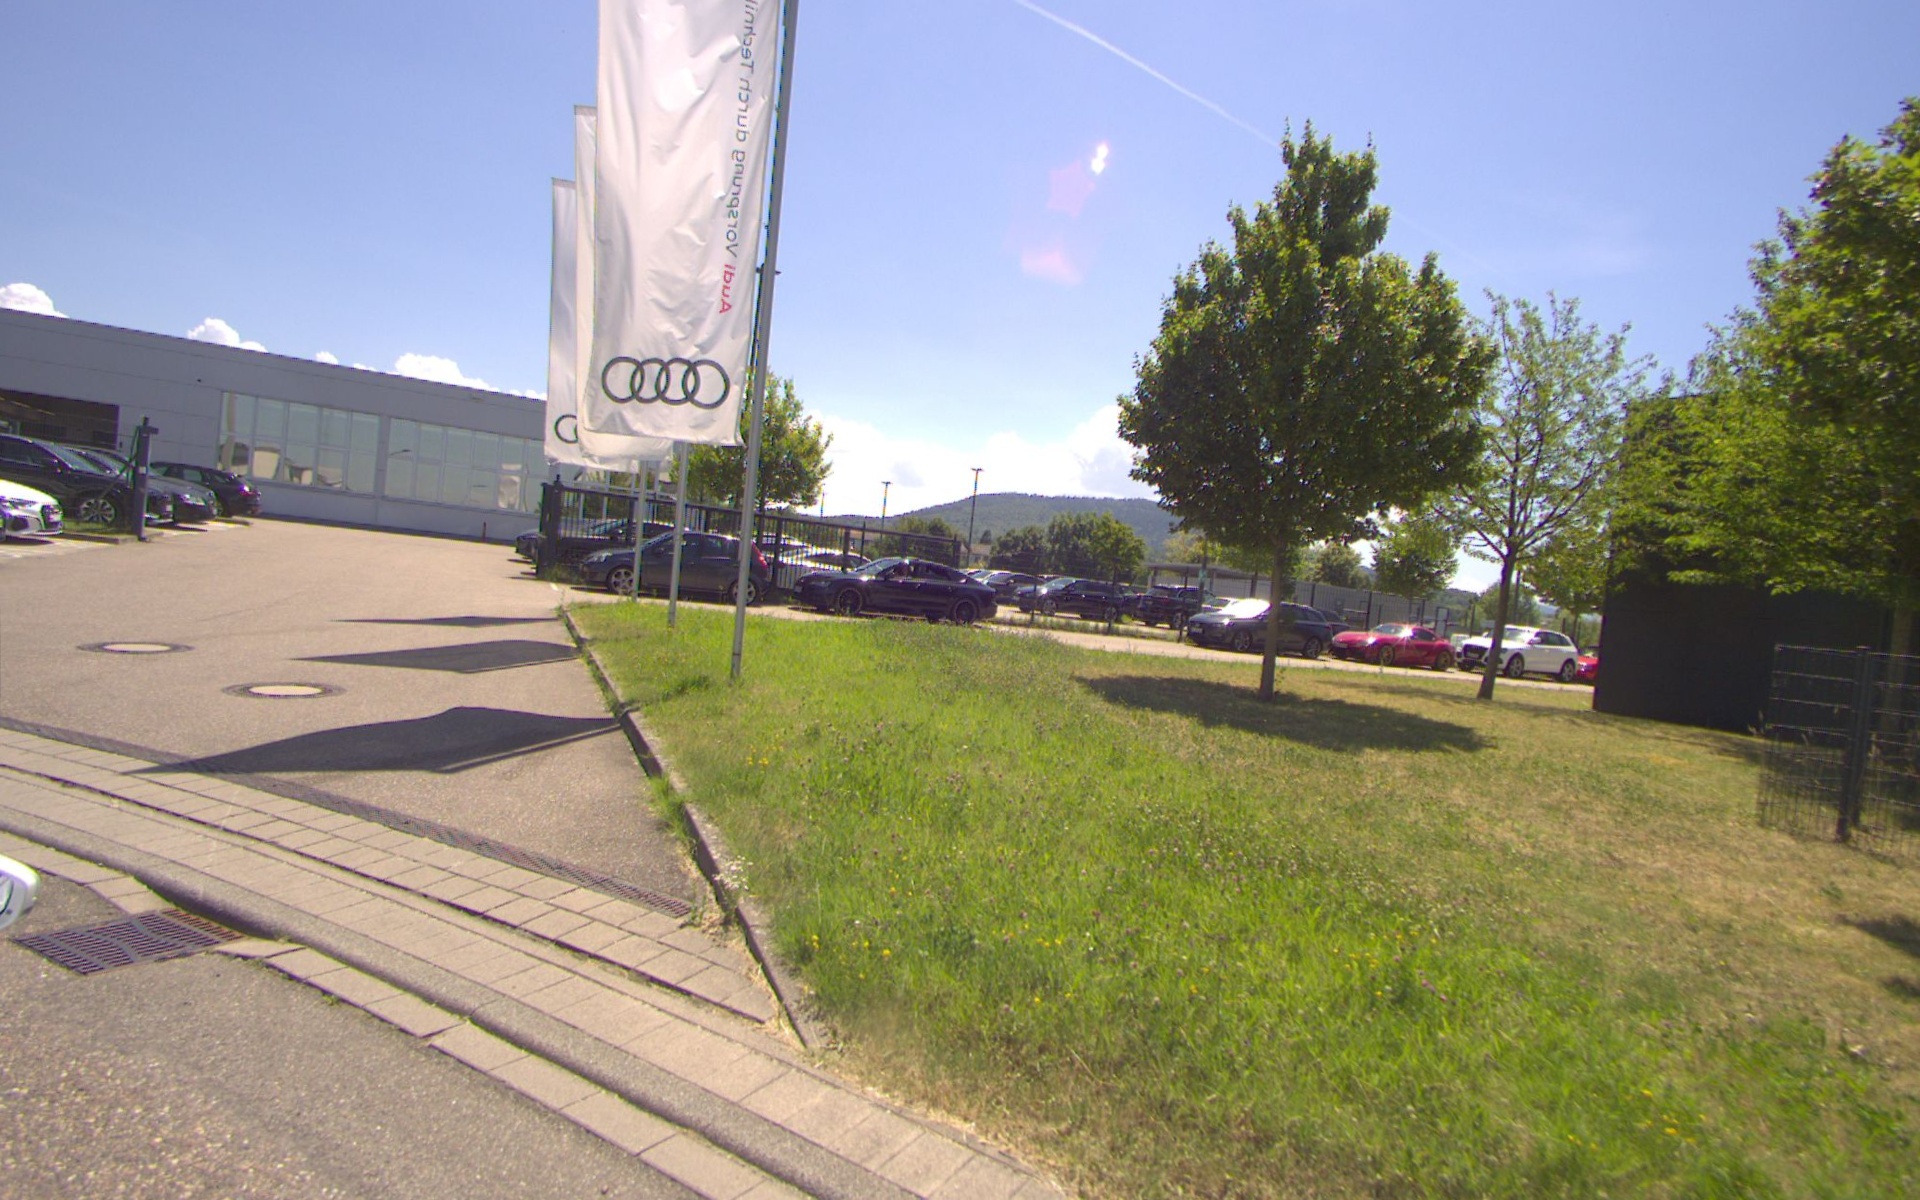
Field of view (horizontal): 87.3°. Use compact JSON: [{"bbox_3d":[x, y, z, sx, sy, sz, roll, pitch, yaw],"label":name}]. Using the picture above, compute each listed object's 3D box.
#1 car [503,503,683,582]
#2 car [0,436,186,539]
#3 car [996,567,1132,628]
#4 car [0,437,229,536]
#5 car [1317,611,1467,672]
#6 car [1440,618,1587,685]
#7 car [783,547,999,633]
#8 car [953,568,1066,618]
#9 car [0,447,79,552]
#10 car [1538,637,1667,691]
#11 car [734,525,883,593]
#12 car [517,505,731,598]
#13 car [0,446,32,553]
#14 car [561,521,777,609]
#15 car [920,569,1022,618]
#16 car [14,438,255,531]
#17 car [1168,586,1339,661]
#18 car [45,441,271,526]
[{"bbox_3d":[-10.517,-1.635,28.844,4.570,1.652,1.953,6,3,-27],"label":"car"},{"bbox_3d":[-18.429,-2.328,19.896,4.570,1.652,1.953,6,3,-27],"label":"car"},{"bbox_3d":[3.759,-0.078,36.047,4.427,1.710,1.983,5,2,-31],"label":"car"},{"bbox_3d":[-19.475,-2.562,22.601,4.570,1.652,1.953,6,3,-27],"label":"car"},{"bbox_3d":[13.154,1.279,30.630,4.117,1.375,1.769,6,3,-25],"label":"car"},{"bbox_3d":[18.094,1.687,32.871,4.338,1.669,1.813,5,3,-25],"label":"car"},{"bbox_3d":[-1.577,-0.223,23.034,4.512,1.420,1.769,6,3,-24],"label":"car"},{"bbox_3d":[2.015,-0.286,40.647,3.951,1.577,2.097,5,2,-28],"label":"car"},{"bbox_3d":[-16.828,-1.820,15.218,4.884,1.549,1.812,6,3,-27],"label":"car"},{"bbox_3d":[22.812,2.270,35.709,4.058,1.460,1.813,6,3,-24],"label":"car"},{"bbox_3d":[-4.716,-1.263,31.402,4.161,1.651,1.783,5,2,-27],"label":"car"},{"bbox_3d":[-8.115,-1.164,24.320,4.570,1.652,1.953,6,3,-27],"label":"car"},{"bbox_3d":[-15.480,-1.612,12.859,4.884,1.487,1.953,6,3,-27],"label":"car"},{"bbox_3d":[-6.134,-0.730,21.222,4.090,1.367,1.769,6,3,-24],"label":"car"},{"bbox_3d":[0.512,-0.293,44.527,3.955,1.710,1.983,5,2,-31],"label":"car"},{"bbox_3d":[-20.798,-2.877,25.622,4.324,1.652,1.953,6,3,-27],"label":"car"},{"bbox_3d":[8.201,0.658,28.090,4.347,1.588,1.769,5,3,-25],"label":"car"},{"bbox_3d":[-22.347,-3.214,28.289,4.570,1.652,1.953,6,3,-27],"label":"car"}]
